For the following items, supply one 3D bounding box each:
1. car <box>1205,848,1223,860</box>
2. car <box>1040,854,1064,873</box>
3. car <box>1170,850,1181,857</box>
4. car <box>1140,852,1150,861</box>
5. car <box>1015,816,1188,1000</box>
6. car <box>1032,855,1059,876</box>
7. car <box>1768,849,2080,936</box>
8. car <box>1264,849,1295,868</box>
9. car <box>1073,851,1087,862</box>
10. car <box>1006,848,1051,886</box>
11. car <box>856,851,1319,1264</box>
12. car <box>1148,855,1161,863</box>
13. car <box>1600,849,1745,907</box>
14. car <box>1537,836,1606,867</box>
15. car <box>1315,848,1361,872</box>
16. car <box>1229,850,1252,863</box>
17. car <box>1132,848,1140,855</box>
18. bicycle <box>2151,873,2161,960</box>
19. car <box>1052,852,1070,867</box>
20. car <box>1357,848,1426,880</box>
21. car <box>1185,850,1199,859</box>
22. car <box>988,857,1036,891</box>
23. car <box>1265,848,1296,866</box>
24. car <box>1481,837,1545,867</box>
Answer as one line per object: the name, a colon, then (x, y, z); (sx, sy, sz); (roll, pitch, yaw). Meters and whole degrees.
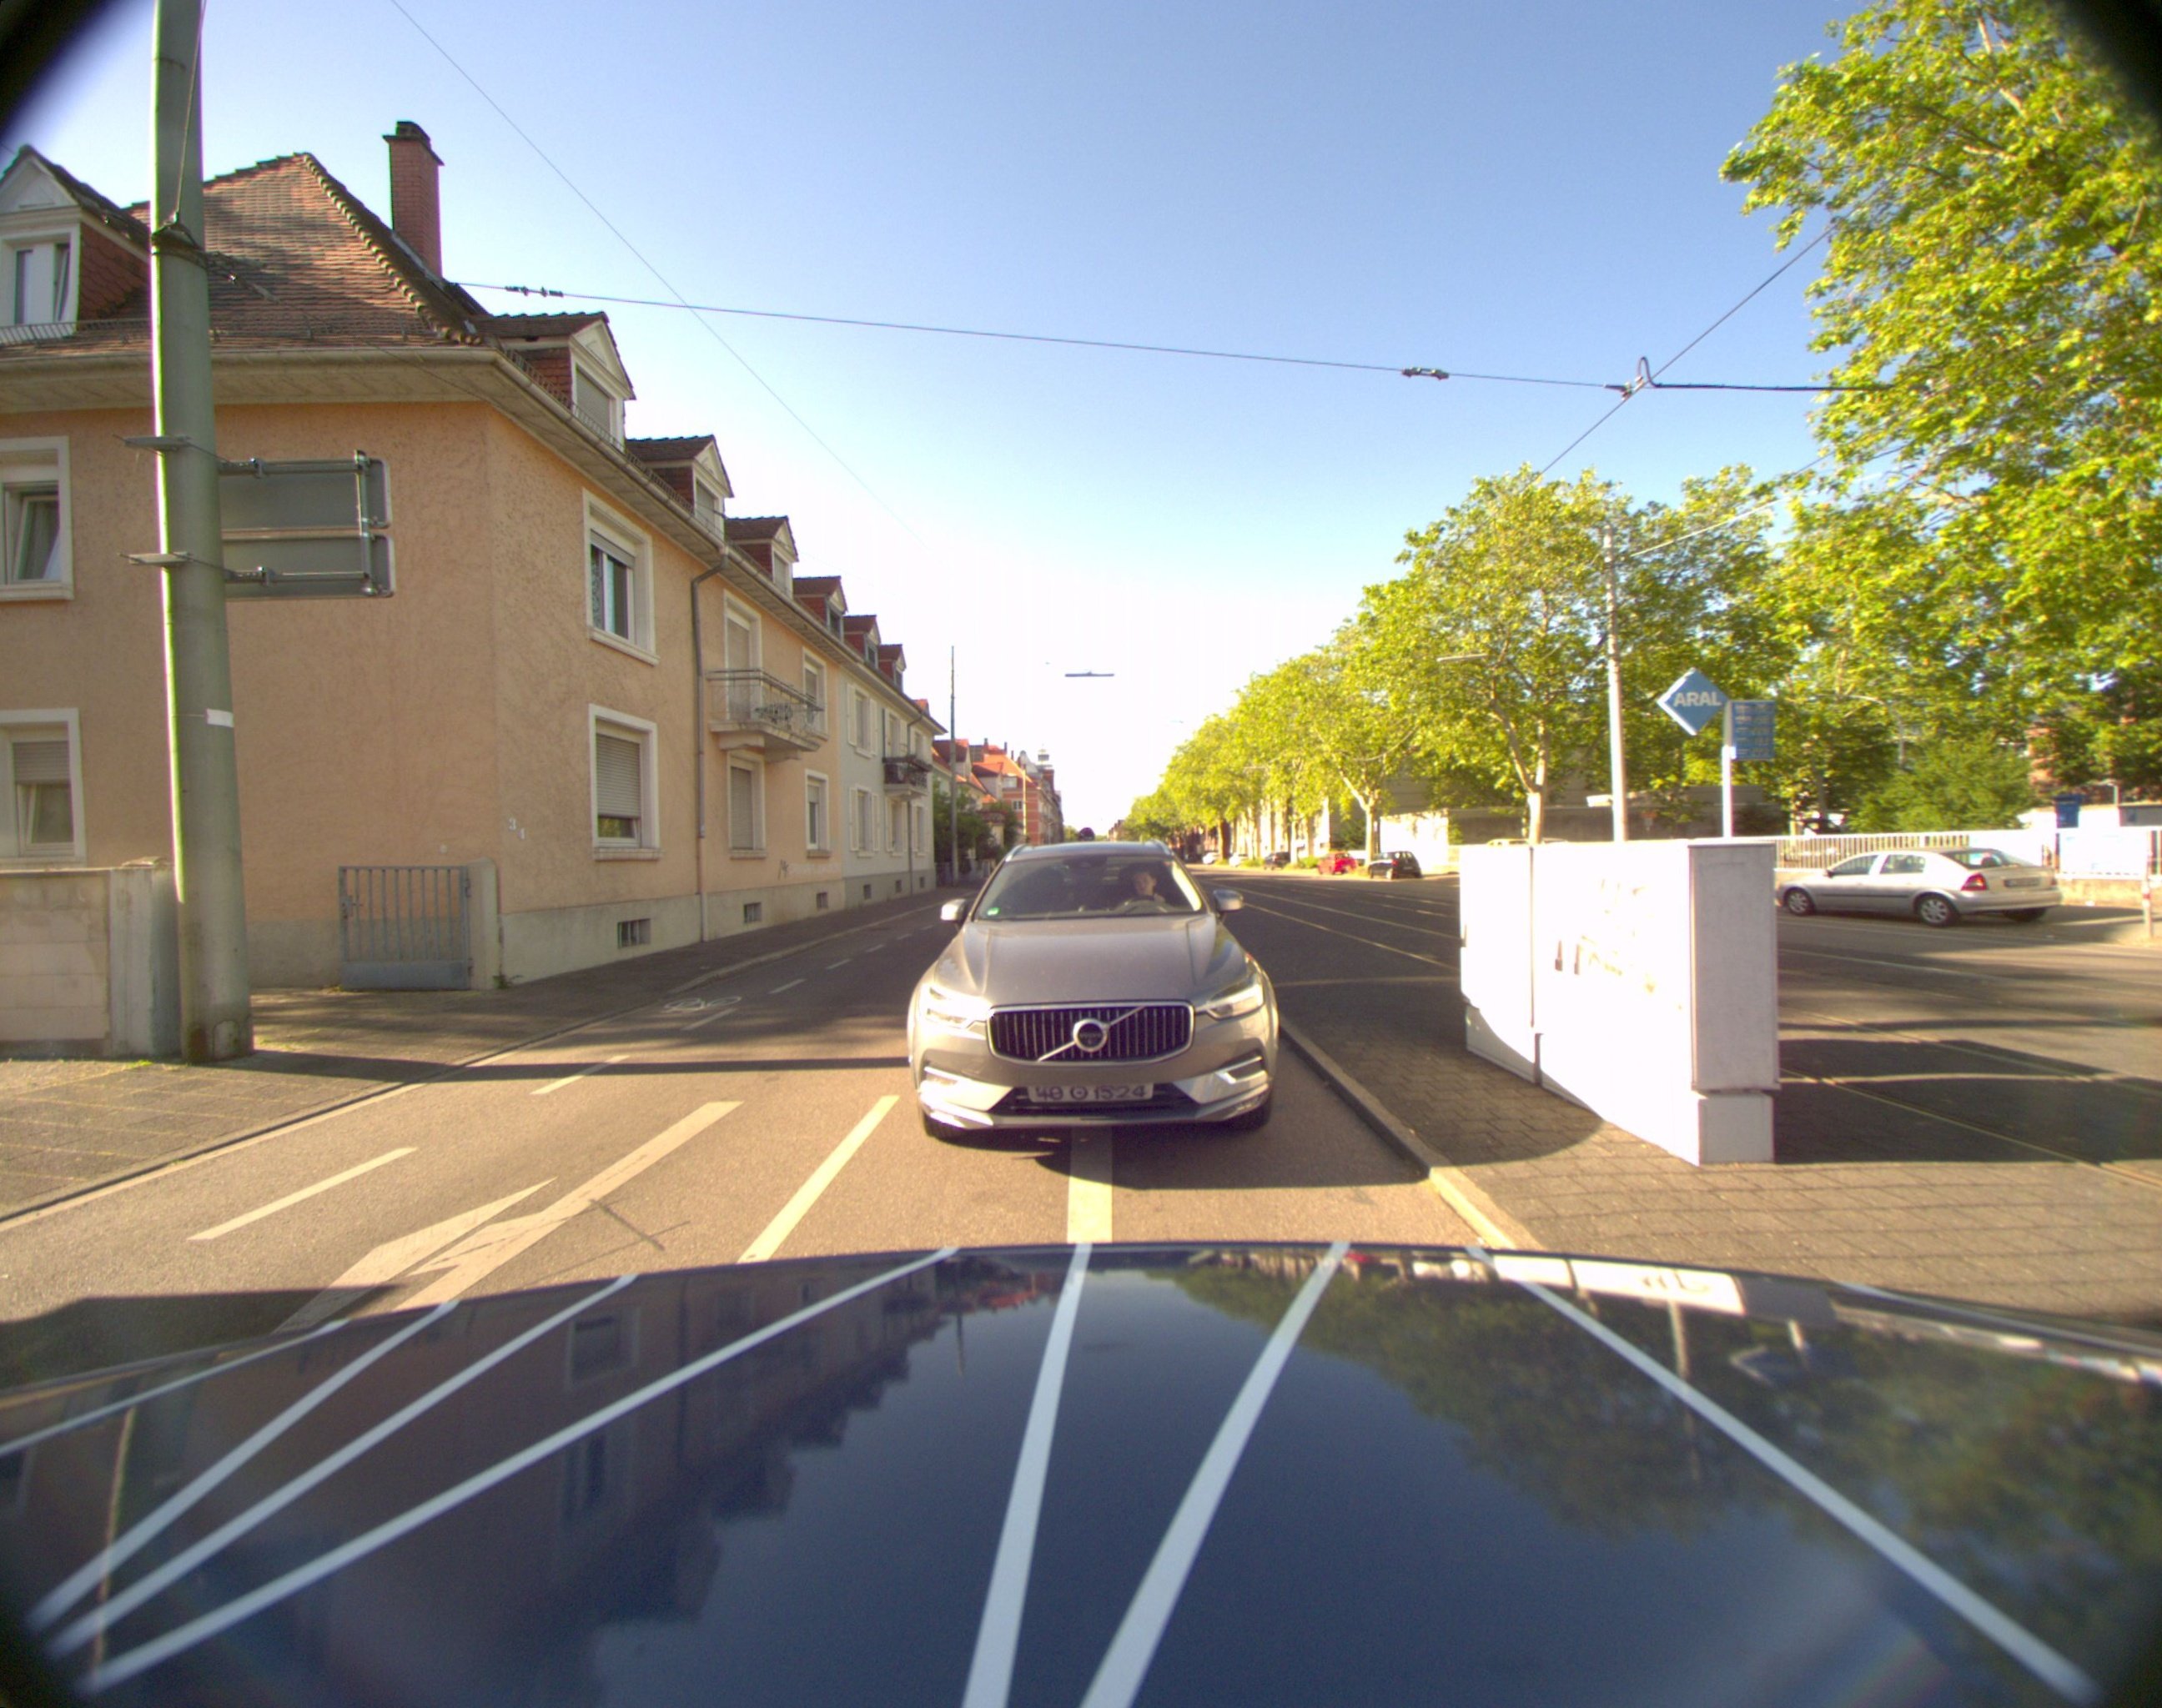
car: (17.664, 0.022, 100.778); (1.700, 1.548, 3.999); (-1, 1, 1)
car: (-2.531, 0.813, 66.993); (1.841, 1.449, 3.999); (-2, 1, 1)
car: (18.590, -0.056, 149.560); (1.700, 1.401, 3.999); (-1, 1, 1)
car: (14.186, 0.569, 169.141); (1.700, 1.412, 3.999); (14, 1, 1)
car: (0.237, 0.601, 11.118); (1.912, 2.048, 4.763); (-2, 1, 0)
car: (-2.827, 0.896, 60.584); (1.841, 1.449, 3.999); (-2, 1, 1)
car: (16.242, 0.647, 15.006); (1.731, 1.412, 3.999); (-2, 1, 1)
car: (17.168, 0.331, 65.989); (1.700, 1.566, 3.999); (-1, 1, 1)
car: (-0.158, 0.285, 106.483); (1.841, 1.449, 3.999); (-2, 1, 1)
car: (-2.923, 0.642, 43.684); (1.937, 1.888, 7.210); (-2, 1, 1)
car: (0.037, 0.861, 5.623); (1.912, 1.666, 4.763); (-2, 1, 0)
car: (13.929, 0.891, 144.198); (1.912, 1.514, 4.763); (0, 1, 0)
car: (16.427, 0.611, 21.291); (1.546, 1.412, 3.254); (-2, 1, 1)
car: (24.278, -0.142, 37.715); (1.545, 1.412, 3.151); (-2, 1, 4)
car: (16.990, 0.386, 50.433); (1.700, 1.460, 3.999); (-1, 1, 1)
car: (17.517, 0.263, 83.516); (1.700, 1.401, 3.999); (-1, 1, 1)
car: (15.124, -0.588, 209.412); (1.850, 1.835, 4.394); (-1, 1, -1)
bicycle: (13.875, 0.769, 8.700); (0.575, 1.064, 1.791); (-3, 1, -19)
car: (-2.182, 0.596, 85.431); (1.841, 1.449, 3.999); (-2, 1, 1)
car: (16.733, 0.486, 41.236); (1.753, 1.514, 4.434); (-5, 1, -1)
car: (18.334, 0.040, 125.555); (1.700, 1.401, 3.999); (-1, 1, 1)
car: (-3.285, 0.931, 36.945); (1.841, 1.449, 3.999); (-2, 1, 1)
car: (17.285, 0.238, 65.908); (1.700, 1.401, 3.999); (-1, 1, 1)
car: (21.717, -0.104, 38.294); (1.545, 1.412, 3.151); (-2, 1, 4)
